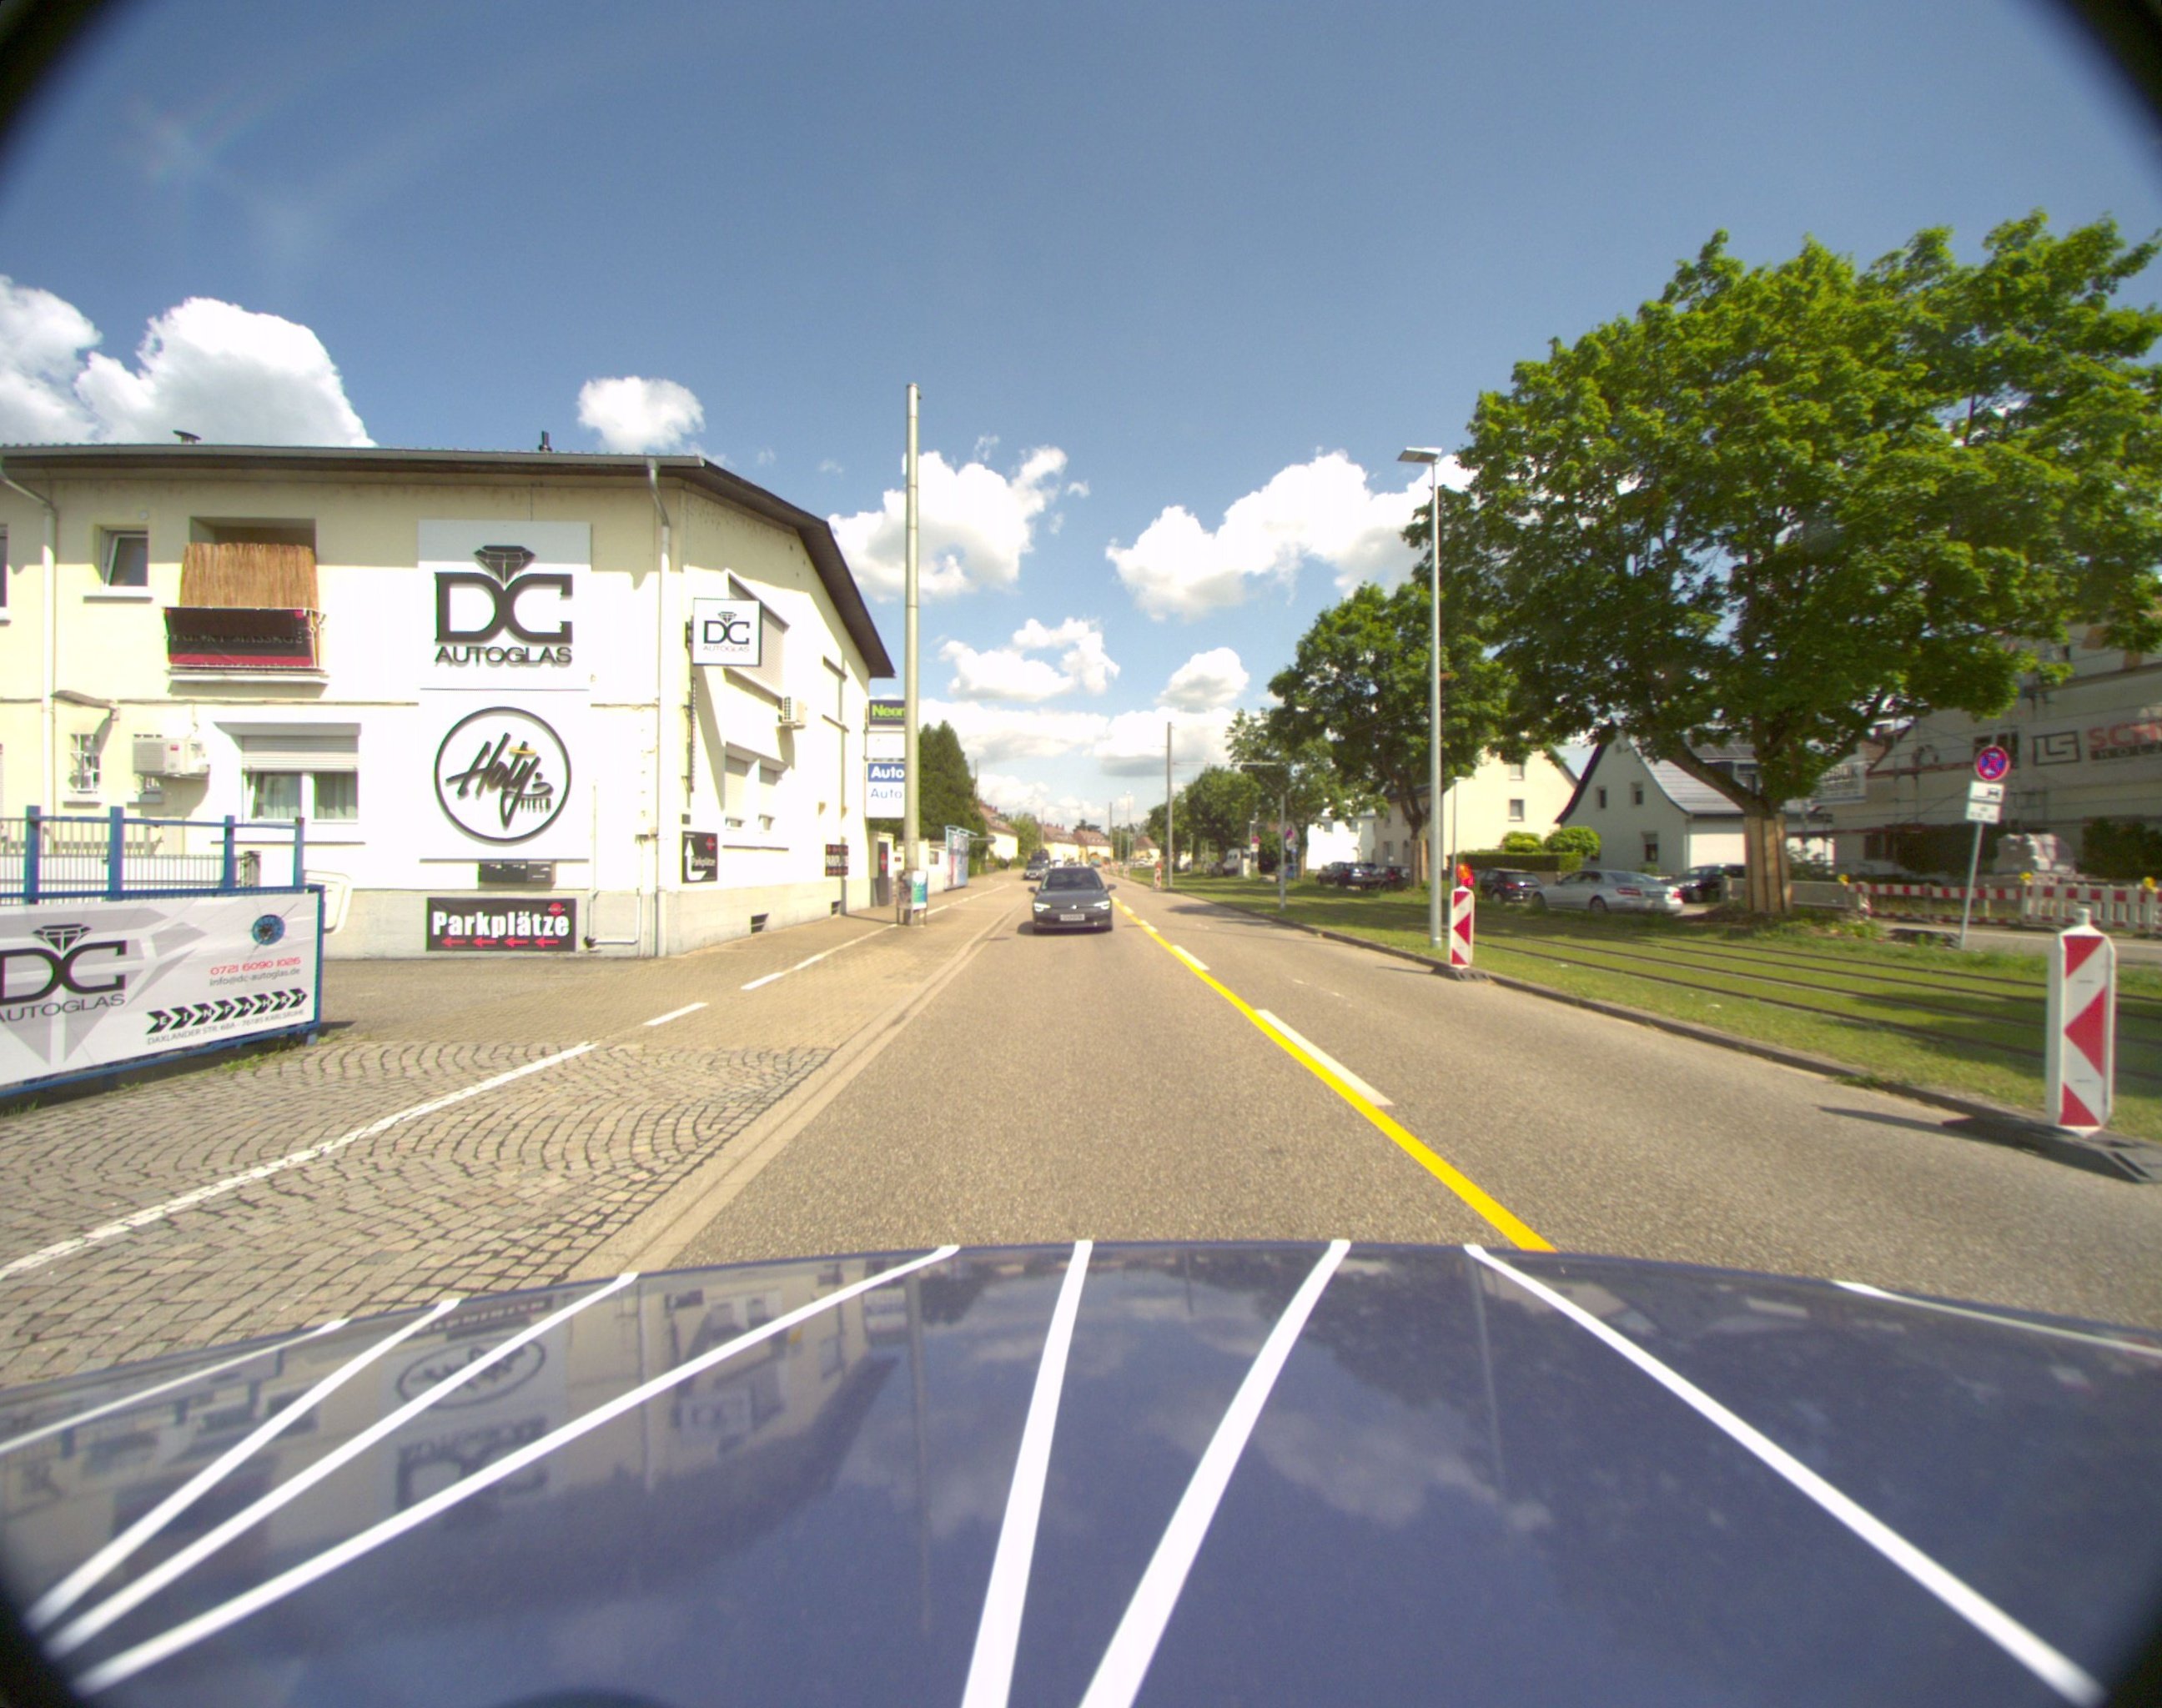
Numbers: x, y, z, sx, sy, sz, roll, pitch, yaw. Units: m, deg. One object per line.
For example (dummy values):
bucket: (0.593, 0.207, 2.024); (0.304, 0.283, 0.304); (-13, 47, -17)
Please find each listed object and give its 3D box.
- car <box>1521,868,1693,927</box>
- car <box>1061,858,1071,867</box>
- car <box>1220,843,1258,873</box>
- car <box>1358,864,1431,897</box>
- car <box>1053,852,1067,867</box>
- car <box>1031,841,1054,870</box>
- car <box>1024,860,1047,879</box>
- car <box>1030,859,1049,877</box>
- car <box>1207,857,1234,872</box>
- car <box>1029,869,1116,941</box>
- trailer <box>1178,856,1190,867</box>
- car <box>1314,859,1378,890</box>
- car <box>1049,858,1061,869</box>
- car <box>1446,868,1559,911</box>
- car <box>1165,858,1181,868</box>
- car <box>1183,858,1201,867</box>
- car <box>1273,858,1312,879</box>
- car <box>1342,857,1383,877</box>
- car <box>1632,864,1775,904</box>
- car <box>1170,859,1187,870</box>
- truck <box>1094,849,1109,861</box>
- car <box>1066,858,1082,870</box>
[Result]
car: (15.807, 1.243, 23.245); (1.809, 1.474, 4.939); (1, 0, 0)
car: (-2.683, 1.534, 138.947); (1.513, 1.489, 3.408); (1, 0, 5)
car: (15.024, 0.361, 72.493); (1.999, 2.714, 6.461); (1, 0, -3)
car: (15.882, 1.310, 38.706); (1.999, 1.430, 3.999); (2, 0, -1)
car: (-3.564, 0.955, 129.862); (1.924, 2.522, 5.346); (1, 0, 4)
car: (-3.770, 0.133, 75.353); (2.001, 2.744, 4.878); (1, 0, -1)
car: (-3.804, 1.281, 64.466); (1.656, 1.423, 4.096); (1, 0, 0)
car: (-3.765, 1.284, 69.458); (1.696, 1.507, 4.354); (1, 0, -3)
car: (14.963, 1.065, 81.762); (1.999, 1.497, 4.485); (1, 0, -1)
car: (-0.250, 1.107, 18.119); (1.787, 1.412, 4.289); (-2, 0, -2)
trailer: (14.466, 1.017, 106.619); (1.303, 1.510, 2.281); (1, 0, -1)
car: (15.536, 1.160, 44.832); (1.999, 1.681, 4.390); (1, 0, -4)
car: (-3.993, 1.437, 116.696); (1.756, 1.480, 4.627); (1, 0, 0)
car: (15.678, 1.281, 28.530); (1.999, 1.310, 3.852); (3, 0, -1)
car: (14.751, 1.440, 122.137); (1.998, 1.530, 4.322); (1, 0, 0)
car: (14.722, 1.173, 101.157); (1.786, 1.087, 3.835); (1, 0, -1)
car: (15.249, 1.027, 54.959); (1.758, 1.427, 3.889); (1, 0, 1)
car: (23.812, 1.067, 64.371); (1.907, 1.568, 3.999); (1, 0, 0)
car: (24.239, 1.156, 29.699); (3.997, 1.393, 1.982); (-1, 1, -1)
car: (14.980, 1.593, 116.789); (1.910, 1.568, 4.101); (3, -1, 0)
truck: (5.226, 0.250, 194.808); (2.530, 2.931, 7.868); (1, 0, 12)
car: (-0.887, 1.316, 99.427); (1.999, 1.566, 4.000); (0, 0, 0)
